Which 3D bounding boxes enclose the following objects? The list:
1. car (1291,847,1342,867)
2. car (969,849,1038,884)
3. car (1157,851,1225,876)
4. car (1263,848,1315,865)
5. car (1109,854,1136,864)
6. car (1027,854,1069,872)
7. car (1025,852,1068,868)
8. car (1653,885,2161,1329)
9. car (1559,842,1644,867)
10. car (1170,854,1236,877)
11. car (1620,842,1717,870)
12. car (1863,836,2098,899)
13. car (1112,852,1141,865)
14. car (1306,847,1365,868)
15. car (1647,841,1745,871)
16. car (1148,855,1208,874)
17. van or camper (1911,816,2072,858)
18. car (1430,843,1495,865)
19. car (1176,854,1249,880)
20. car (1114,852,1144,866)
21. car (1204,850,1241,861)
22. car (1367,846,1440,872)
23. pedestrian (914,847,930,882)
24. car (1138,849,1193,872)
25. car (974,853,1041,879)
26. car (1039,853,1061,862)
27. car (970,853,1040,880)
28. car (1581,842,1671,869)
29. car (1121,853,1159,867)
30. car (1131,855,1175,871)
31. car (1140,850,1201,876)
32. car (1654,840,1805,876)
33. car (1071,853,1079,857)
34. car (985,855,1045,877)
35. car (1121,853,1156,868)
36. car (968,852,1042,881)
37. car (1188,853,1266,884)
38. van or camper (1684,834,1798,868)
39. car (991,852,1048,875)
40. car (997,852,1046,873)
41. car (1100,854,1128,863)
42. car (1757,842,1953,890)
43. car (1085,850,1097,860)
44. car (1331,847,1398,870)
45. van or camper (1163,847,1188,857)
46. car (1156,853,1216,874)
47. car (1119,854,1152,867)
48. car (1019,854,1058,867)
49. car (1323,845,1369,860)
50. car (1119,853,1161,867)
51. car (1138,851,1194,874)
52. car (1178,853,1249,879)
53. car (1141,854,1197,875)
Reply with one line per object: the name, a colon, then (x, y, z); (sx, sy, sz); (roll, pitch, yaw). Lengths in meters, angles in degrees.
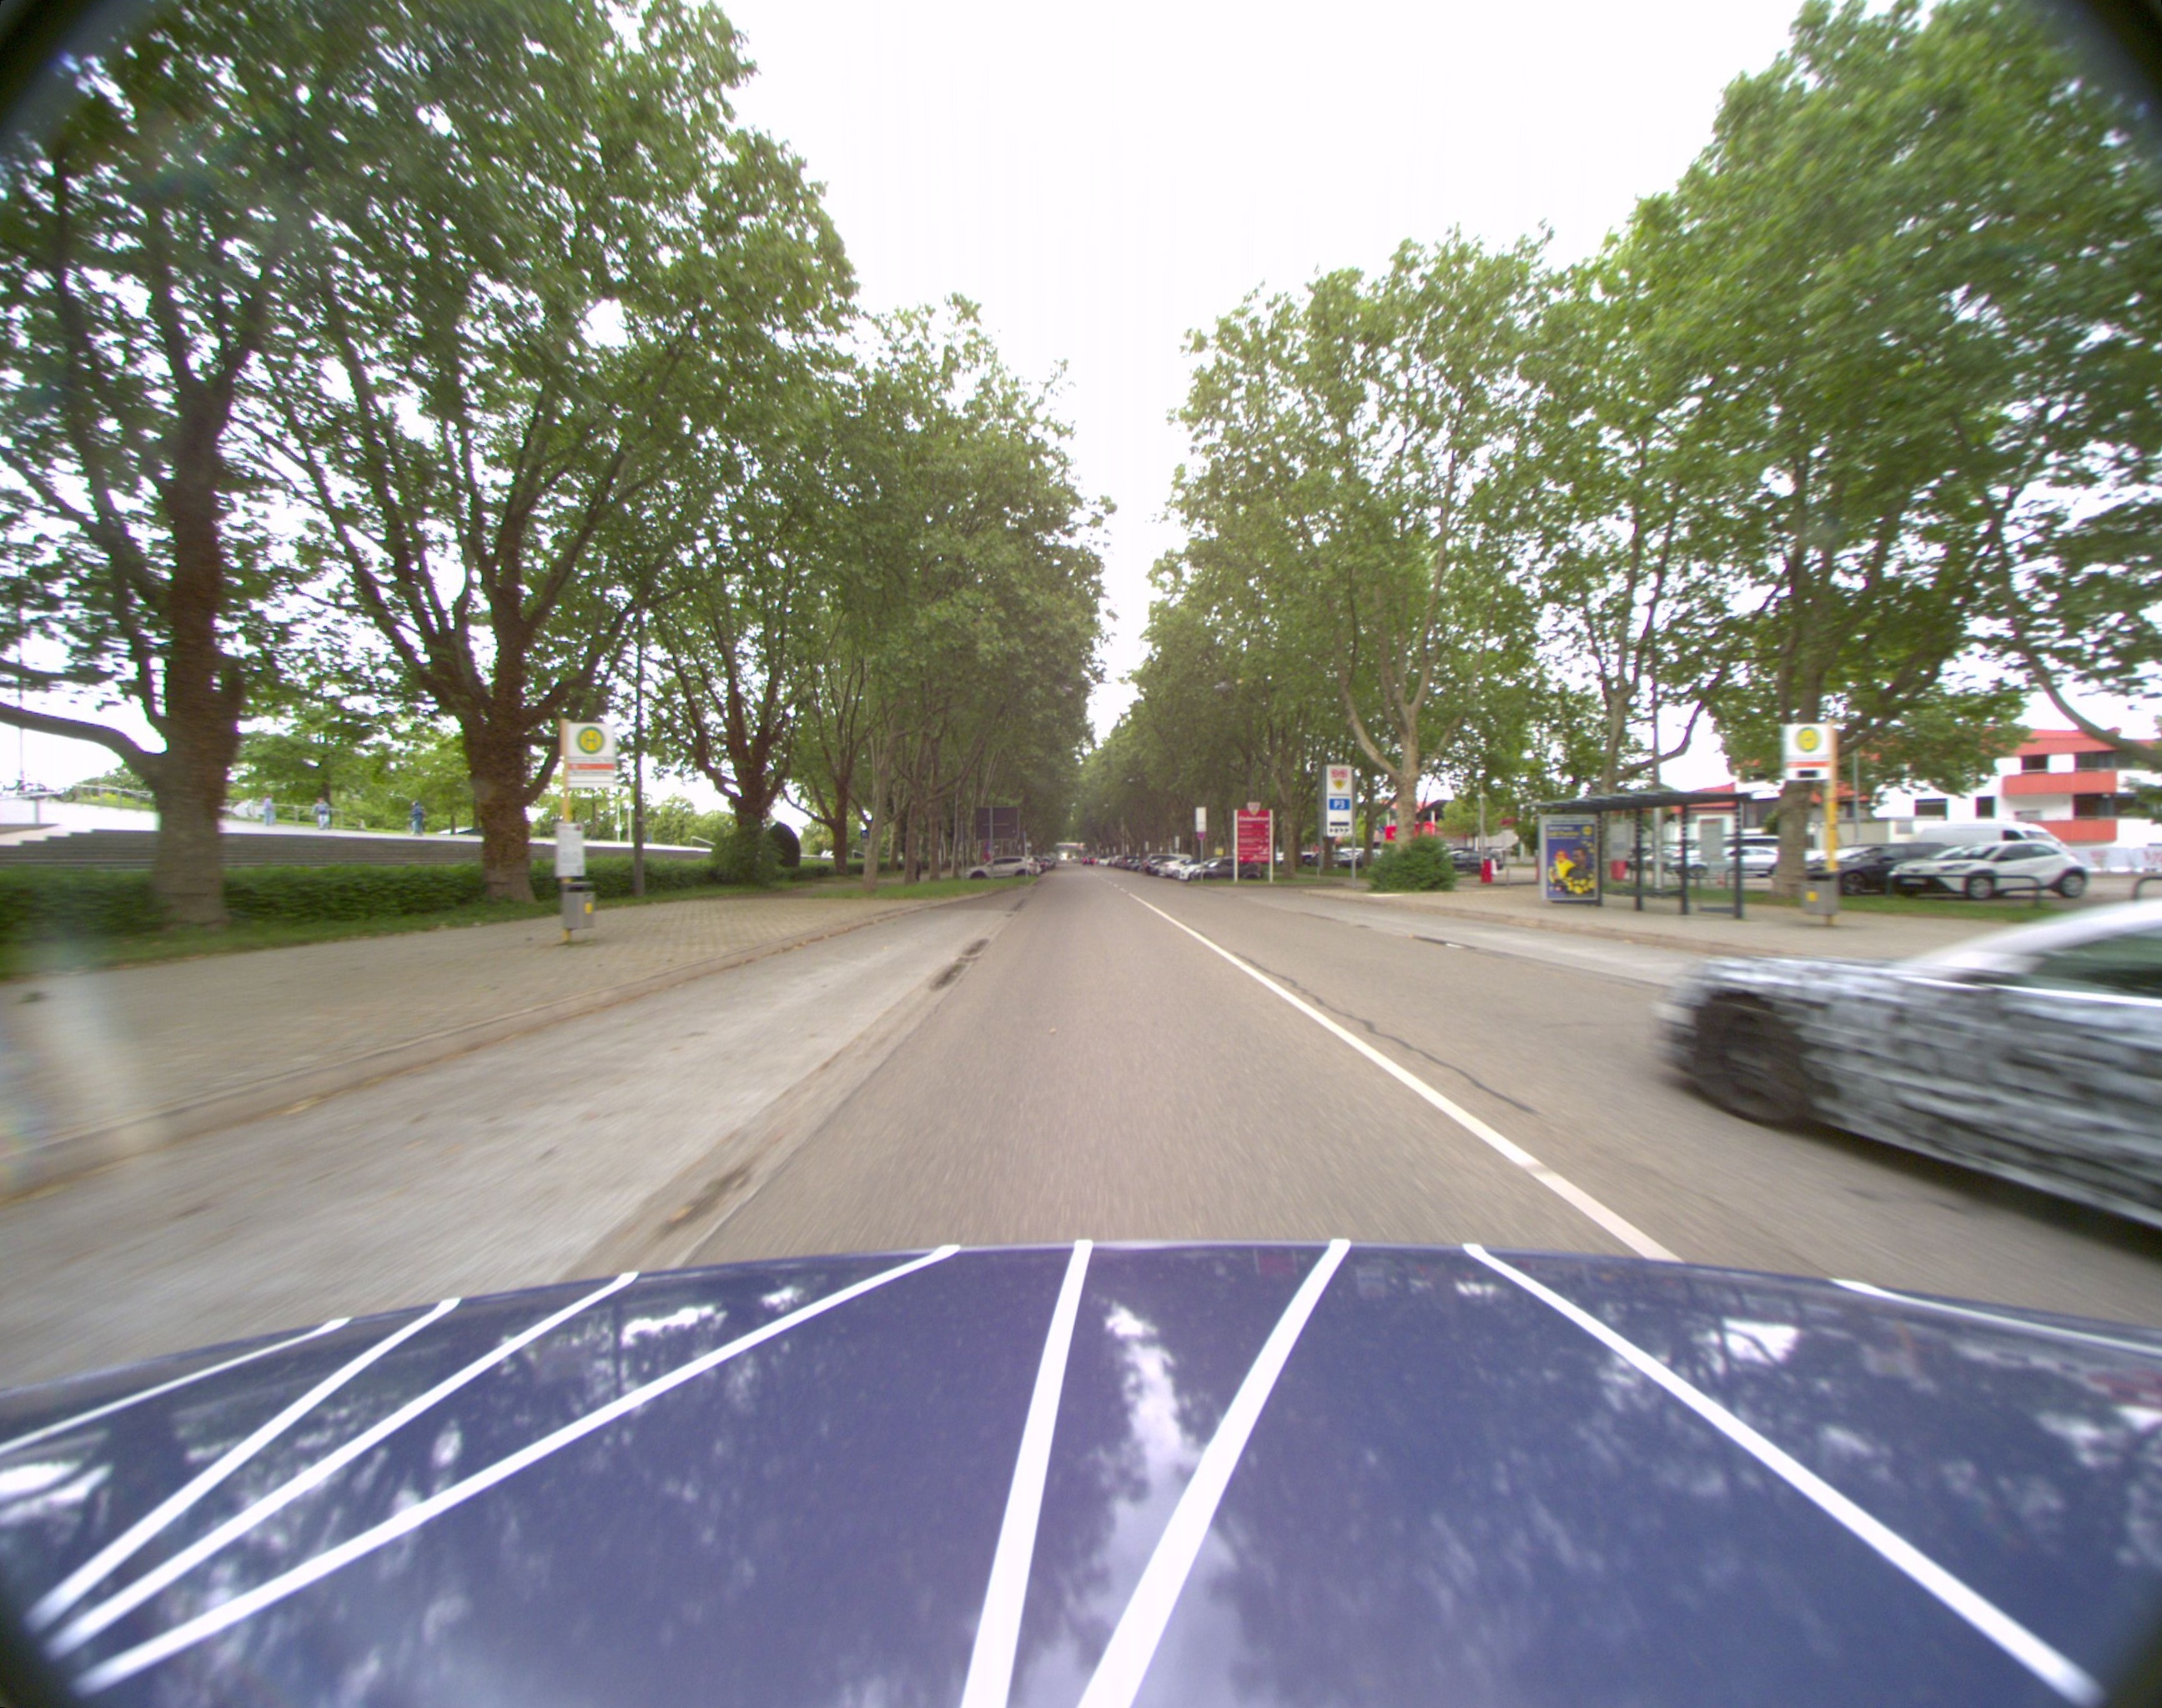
car: (22.911, 0.311, 73.985); (4.332, 1.850, 2.027); (-1, 1, -2)
car: (-4.758, 0.788, 47.177); (3.997, 2.002, 2.000); (-2, 0, -1)
car: (7.551, 0.618, 52.315); (4.275, 1.539, 1.907); (2, 1, -3)
car: (22.225, 0.245, 81.305); (4.955, 1.786, 2.182); (-1, 0, -4)
car: (6.230, 0.768, 114.620); (3.997, 1.445, 1.855); (-1, 1, 0)
car: (-3.699, 1.005, 85.124); (4.505, 1.786, 2.048); (-2, 0, 3)
car: (-3.694, 0.636, 81.491); (4.356, 1.493, 1.926); (-2, 0, 2)
car: (4.711, 0.940, 2.386); (1.906, 1.444, 4.812); (2, 0, -5)
car: (34.393, 0.000, 50.315); (4.332, 1.539, 1.958); (-1, 1, -2)
car: (7.916, 0.736, 49.581); (3.997, 1.397, 1.861); (-1, 1, -1)
car: (35.097, 0.134, 45.476); (4.332, 1.539, 1.958); (-1, 1, -2)
car: (24.054, 0.344, 20.446); (3.997, 1.514, 2.001); (-1, 1, -1)
car: (6.416, 0.673, 107.422); (3.997, 1.672, 1.855); (-1, 1, 0)
car: (22.963, 0.314, 68.723); (4.564, 1.715, 2.296); (-1, 1, -2)
car: (34.890, 0.109, 43.162); (4.229, 1.539, 1.789); (-1, 1, -3)
car: (7.326, 0.785, 57.415); (4.201, 1.346, 1.966); (-1, 1, -3)
van or camper: (47.482, -0.870, 39.851); (1.999, 2.002, 5.301); (-1, 1, -2)
car: (34.140, -0.003, 68.098); (4.588, 1.844, 2.297); (-1, 1, 4)
car: (7.689, 0.750, 44.647); (4.003, 1.377, 1.912); (-1, 1, 2)
car: (6.457, 0.661, 102.534); (3.997, 1.672, 1.855); (-1, 1, 0)
car: (22.037, 0.283, 118.514); (5.363, 1.587, 2.094); (-1, 1, -2)
car: (22.979, 0.315, 54.261); (4.332, 1.699, 2.131); (-1, 1, -2)
pedestrian: (-9.434, 0.625, 45.025); (0.788, 2.002, 0.598); (-2, 1, -17)
car: (7.156, 0.544, 64.791); (4.330, 1.799, 1.867); (1, 0, -5)
car: (-4.961, 0.802, 51.744); (4.357, 1.624, 1.925); (-2, 0, -1)
car: (-6.895, 0.782, 171.804); (4.674, 1.891, 2.000); (-3, 0, 4)
car: (-4.920, 0.813, 49.602); (4.357, 1.595, 1.925); (-2, 0, -1)
car: (34.368, 0.092, 47.993); (4.332, 1.539, 1.958); (-1, 1, -2)
car: (6.362, 0.660, 82.173); (3.941, 1.390, 1.703); (1, 0, -3)
car: (6.831, 0.825, 72.447); (3.988, 1.412, 1.756); (2, 0, 2)
car: (6.773, 0.683, 57.813); (4.329, 1.799, 1.867); (1, 0, -1)
car: (29.936, 0.203, 35.321); (4.965, 1.543, 2.103); (-1, 1, 26)
car: (-1.930, 0.330, 233.957); (2.000, 1.375, 4.676); (-3, 0, -7)
car: (-4.940, 0.915, 57.237); (4.358, 1.447, 1.949); (-2, 0, -3)
car: (6.754, 0.723, 90.122); (3.941, 1.698, 1.752); (1, 0, -3)
car: (-4.653, 0.754, 47.250); (4.357, 1.624, 1.925); (-2, 0, -1)
car: (8.069, 0.787, 42.243); (4.004, 1.531, 1.805); (-1, 1, 0)
van or camper: (35.336, -0.179, 40.758); (4.332, 1.699, 2.131); (-1, 1, -2)
car: (-4.772, 0.727, 59.602); (4.358, 1.750, 1.925); (-1, 0, -3)
car: (-5.469, 0.801, 69.816); (4.358, 1.735, 1.836); (-2, 0, -3)
car: (5.325, 0.717, 124.588); (4.420, 1.416, 1.775); (1, 0, -3)
car: (23.487, 0.337, 23.168); (3.998, 1.316, 2.001); (-1, 1, -2)
car: (1.643, 0.138, 124.952); (1.847, 1.501, 4.013); (-1, 1, -3)
car: (23.020, 0.329, 61.770); (4.530, 1.752, 2.296); (-1, 1, -2)
van or camper: (20.998, -0.381, 169.004); (5.300, 2.087, 2.243); (-1, 1, -4)
car: (7.536, 0.686, 54.937); (3.998, 1.396, 1.885); (-1, 1, -2)
car: (6.585, 0.782, 92.374); (3.940, 1.507, 1.728); (1, 0, 0)
car: (-5.022, 0.758, 89.517); (4.507, 1.420, 1.932); (-1, 0, 0)
car: (33.385, -0.227, 95.790); (4.955, 1.786, 2.182); (-1, 1, -4)
car: (6.522, 0.690, 84.729); (4.475, 1.473, 1.703); (1, 0, -3)
car: (6.928, 0.688, 62.272); (4.329, 1.785, 2.036); (-1, 1, -1)
car: (8.195, 0.711, 47.189); (4.004, 1.485, 1.832); (-1, 1, -1)
car: (6.885, 0.817, 59.831); (4.139, 1.443, 2.013); (2, 0, 1)
